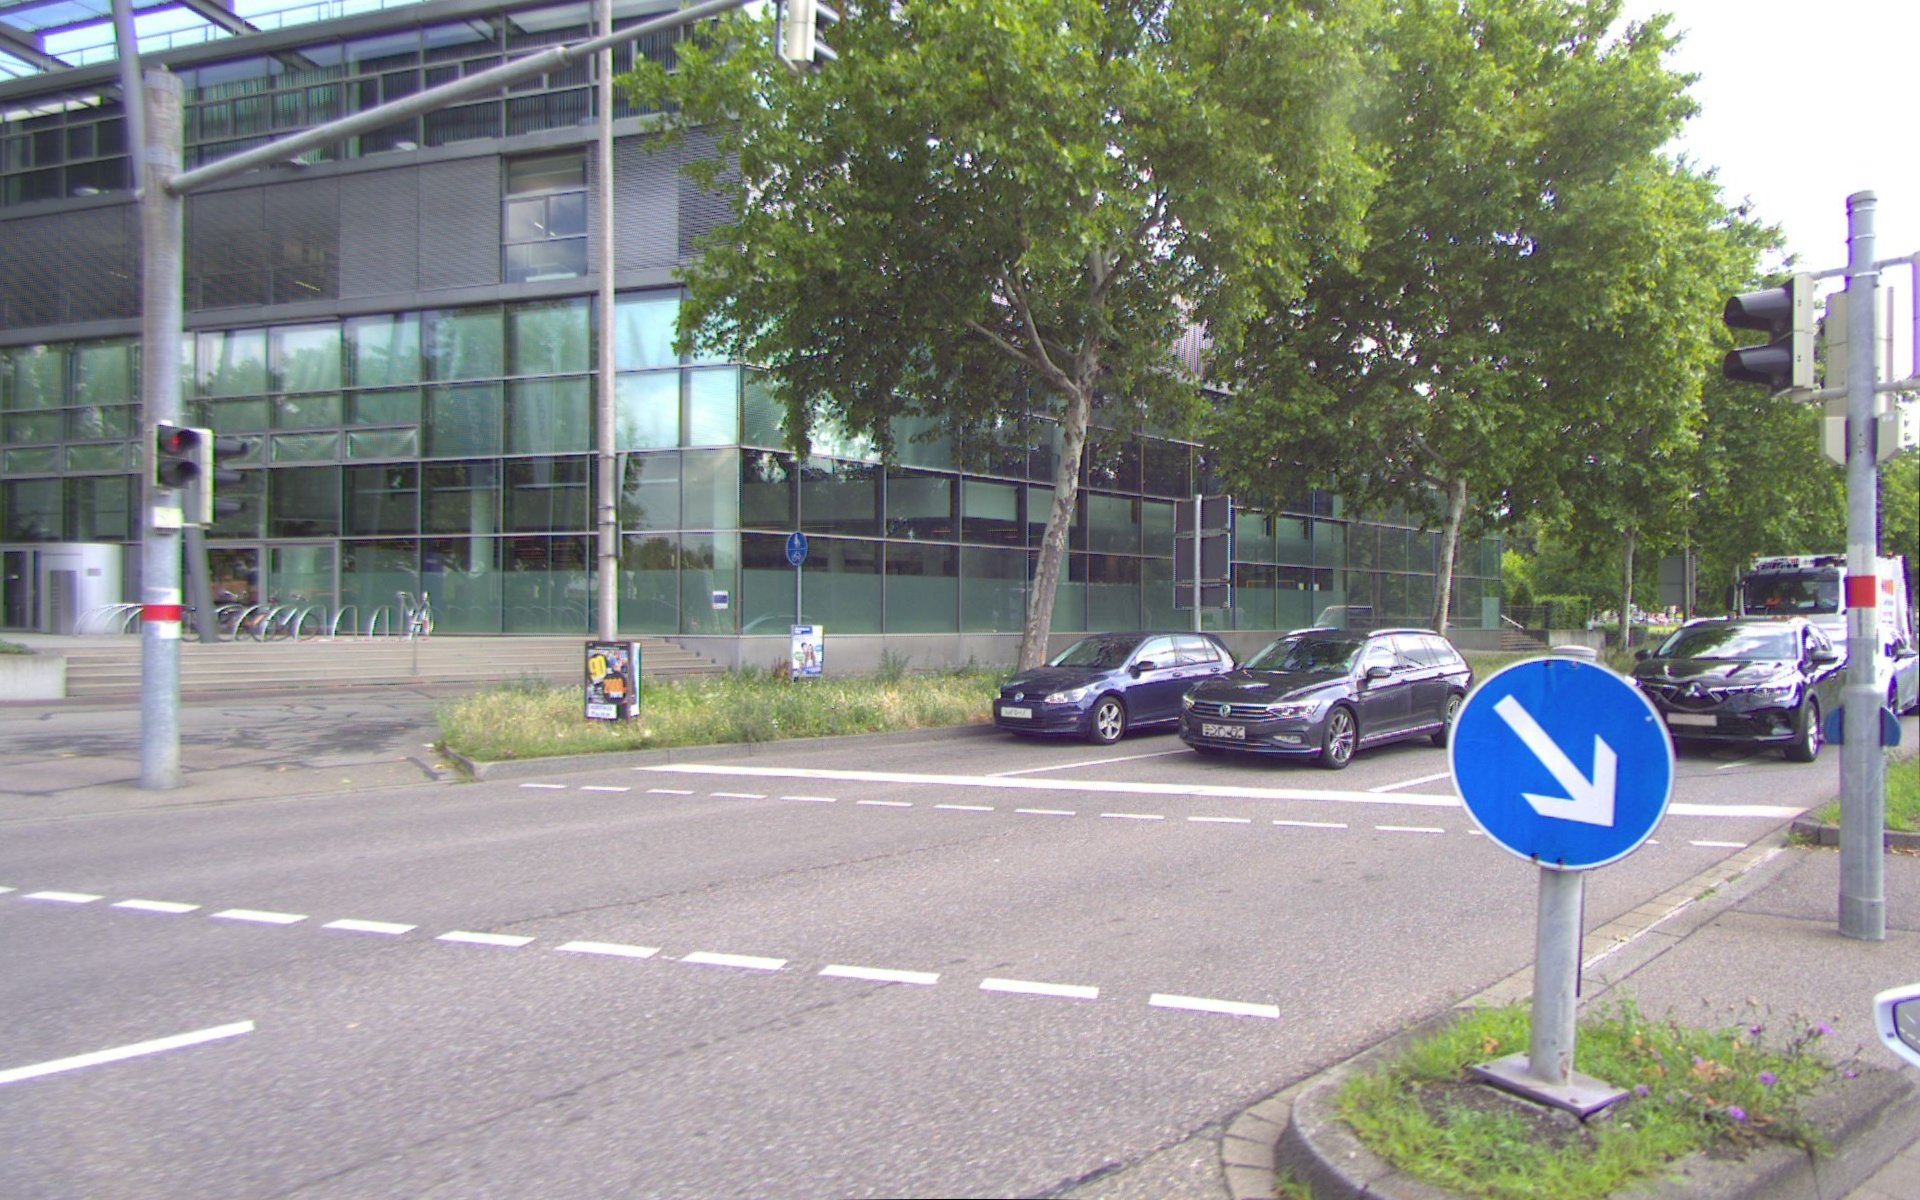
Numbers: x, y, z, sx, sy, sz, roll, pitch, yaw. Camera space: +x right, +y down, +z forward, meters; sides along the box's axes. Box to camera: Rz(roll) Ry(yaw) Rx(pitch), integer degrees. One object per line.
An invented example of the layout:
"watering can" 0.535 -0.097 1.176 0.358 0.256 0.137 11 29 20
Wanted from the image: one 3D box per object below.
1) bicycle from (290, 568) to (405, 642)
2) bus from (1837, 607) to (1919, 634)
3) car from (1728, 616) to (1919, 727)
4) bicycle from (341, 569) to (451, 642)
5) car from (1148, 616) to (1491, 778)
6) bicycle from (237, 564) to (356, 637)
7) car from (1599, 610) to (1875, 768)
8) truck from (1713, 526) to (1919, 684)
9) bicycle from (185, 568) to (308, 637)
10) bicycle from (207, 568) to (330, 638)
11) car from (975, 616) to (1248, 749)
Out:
"bicycle" -13.414 0.141 22.086 0.678 1.459 2.181 2 -3 17
"bus" 123.985 2.786 133.028 3.065 3.317 12.313 0 -3 -12
"car" 14.177 1.116 16.349 4.198 1.573 1.730 2 -4 -40
"bicycle" -12.504 0.163 22.346 0.678 1.459 2.181 2 -3 17
"car" 4.450 1.002 12.080 4.530 1.595 1.850 1 -1 -39
"bicycle" -14.647 0.049 22.256 0.678 1.459 2.181 2 -3 17
"car" 9.582 0.960 12.269 4.324 1.608 1.694 1 -2 -39
"truck" 25.111 0.269 29.142 10.070 3.938 2.630 1 -3 -38
"bicycle" -16.149 0.083 22.820 0.727 1.402 2.140 2 -3 22
"bicycle" -15.410 0.091 22.469 0.727 1.402 2.140 2 -3 22
"car" 2.228 1.089 14.089 3.973 1.592 1.713 3 -3 -43
